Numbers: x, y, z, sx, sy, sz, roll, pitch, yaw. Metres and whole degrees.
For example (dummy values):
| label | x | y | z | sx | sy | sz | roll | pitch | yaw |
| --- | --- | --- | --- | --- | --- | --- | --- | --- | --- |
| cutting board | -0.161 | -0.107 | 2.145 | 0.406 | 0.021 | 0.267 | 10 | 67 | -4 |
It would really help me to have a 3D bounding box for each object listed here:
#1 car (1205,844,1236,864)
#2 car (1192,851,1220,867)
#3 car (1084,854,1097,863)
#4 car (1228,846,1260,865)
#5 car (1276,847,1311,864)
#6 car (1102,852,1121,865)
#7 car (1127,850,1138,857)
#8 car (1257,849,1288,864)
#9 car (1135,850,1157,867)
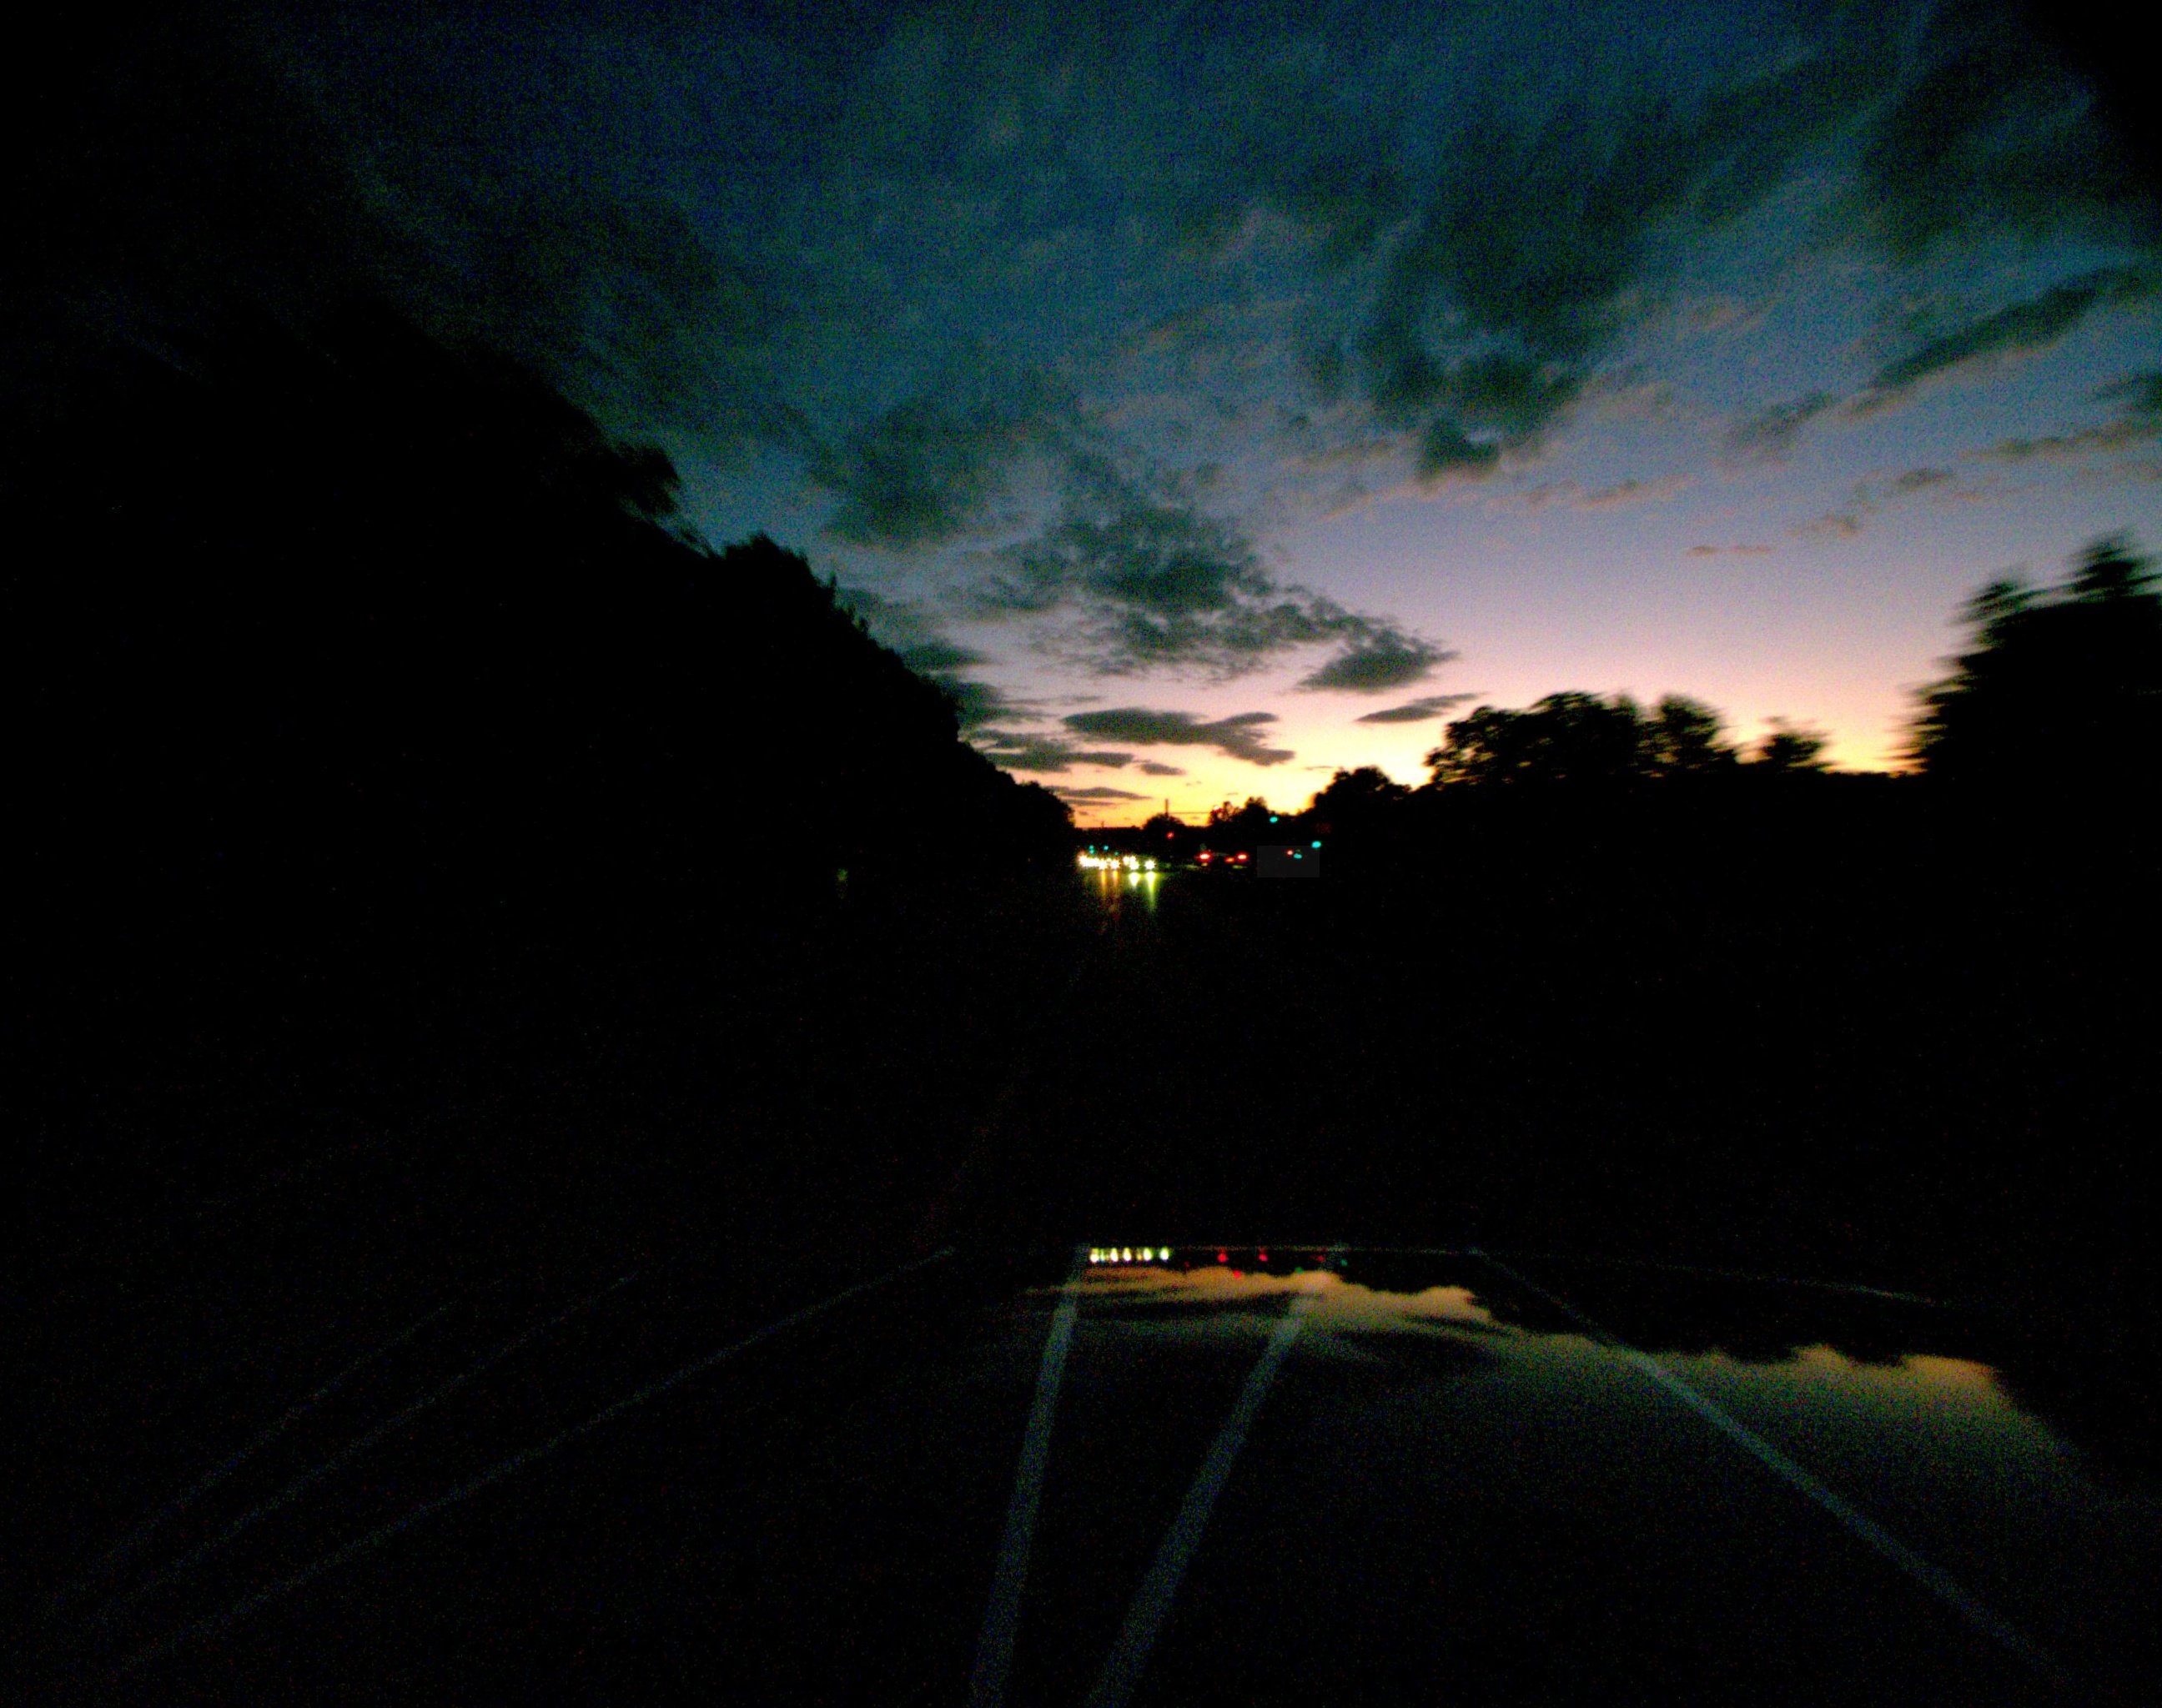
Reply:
| label | x | y | z | sx | sy | sz | roll | pitch | yaw |
| --- | --- | --- | --- | --- | --- | --- | --- | --- | --- |
| car | 11.393 | 0.002 | 62.358 | 1.998 | 1.561 | 4.824 | 0 | 0 | 4 |
| car | 11.500 | 0.458 | 70.076 | 1.998 | 1.444 | 5.048 | 0 | 0 | 3 |
| car | 1.969 | 0.880 | 150.479 | 2.006 | 1.718 | 4.002 | -1 | 0 | 8 |
| car | 15.387 | 0.153 | 71.886 | 1.998 | 1.672 | 4.872 | 0 | 1 | 1 |
| car | 18.821 | 0.096 | 67.506 | 1.998 | 1.444 | 4.735 | 0 | 0 | 3 |
| car | 3.327 | 0.489 | 84.505 | 1.998 | 1.444 | 4.000 | 1 | 0 | 1 |
| car | 11.635 | -0.159 | 172.391 | 2.056 | 1.586 | 4.002 | -1 | 0 | 9 |
| car | 18.849 | 0.269 | 74.924 | 1.998 | 1.444 | 4.735 | 0 | 0 | 2 |
| car | 6.043 | 0.380 | 71.256 | 1.998 | 1.444 | 4.735 | -1 | 0 | 4 |
